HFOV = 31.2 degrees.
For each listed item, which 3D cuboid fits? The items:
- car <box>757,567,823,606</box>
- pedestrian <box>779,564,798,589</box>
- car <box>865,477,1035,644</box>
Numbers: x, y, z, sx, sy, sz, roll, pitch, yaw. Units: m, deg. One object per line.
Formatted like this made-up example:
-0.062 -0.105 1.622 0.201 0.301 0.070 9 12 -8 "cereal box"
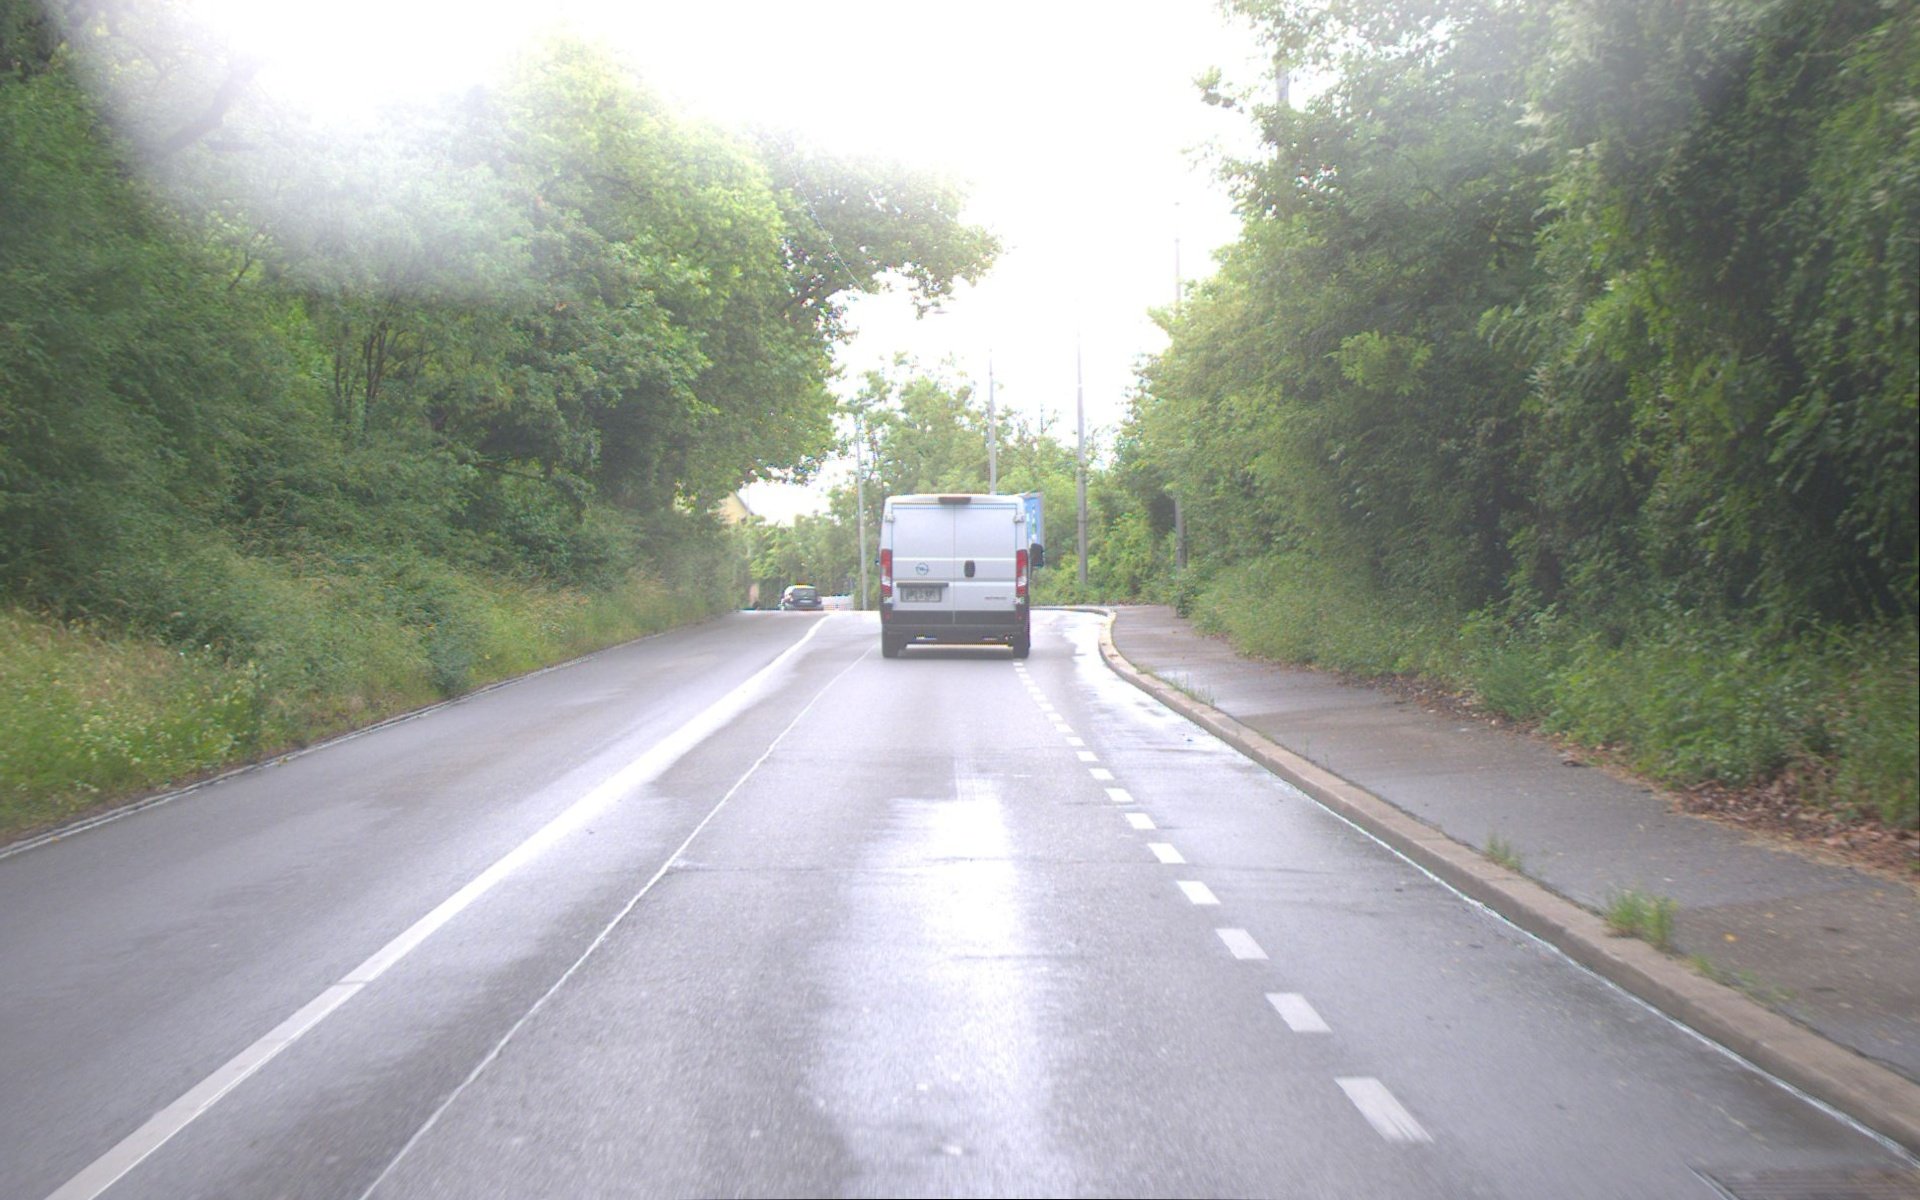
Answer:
-7.700 -0.619 155.327 2.110 1.705 4.715 1 1 -13 "car"
-9.602 -1.301 192.243 0.878 1.363 1.066 1 1 -11 "pedestrian"
-0.162 -0.565 48.415 2.237 2.205 4.713 1 1 -1 "car"
